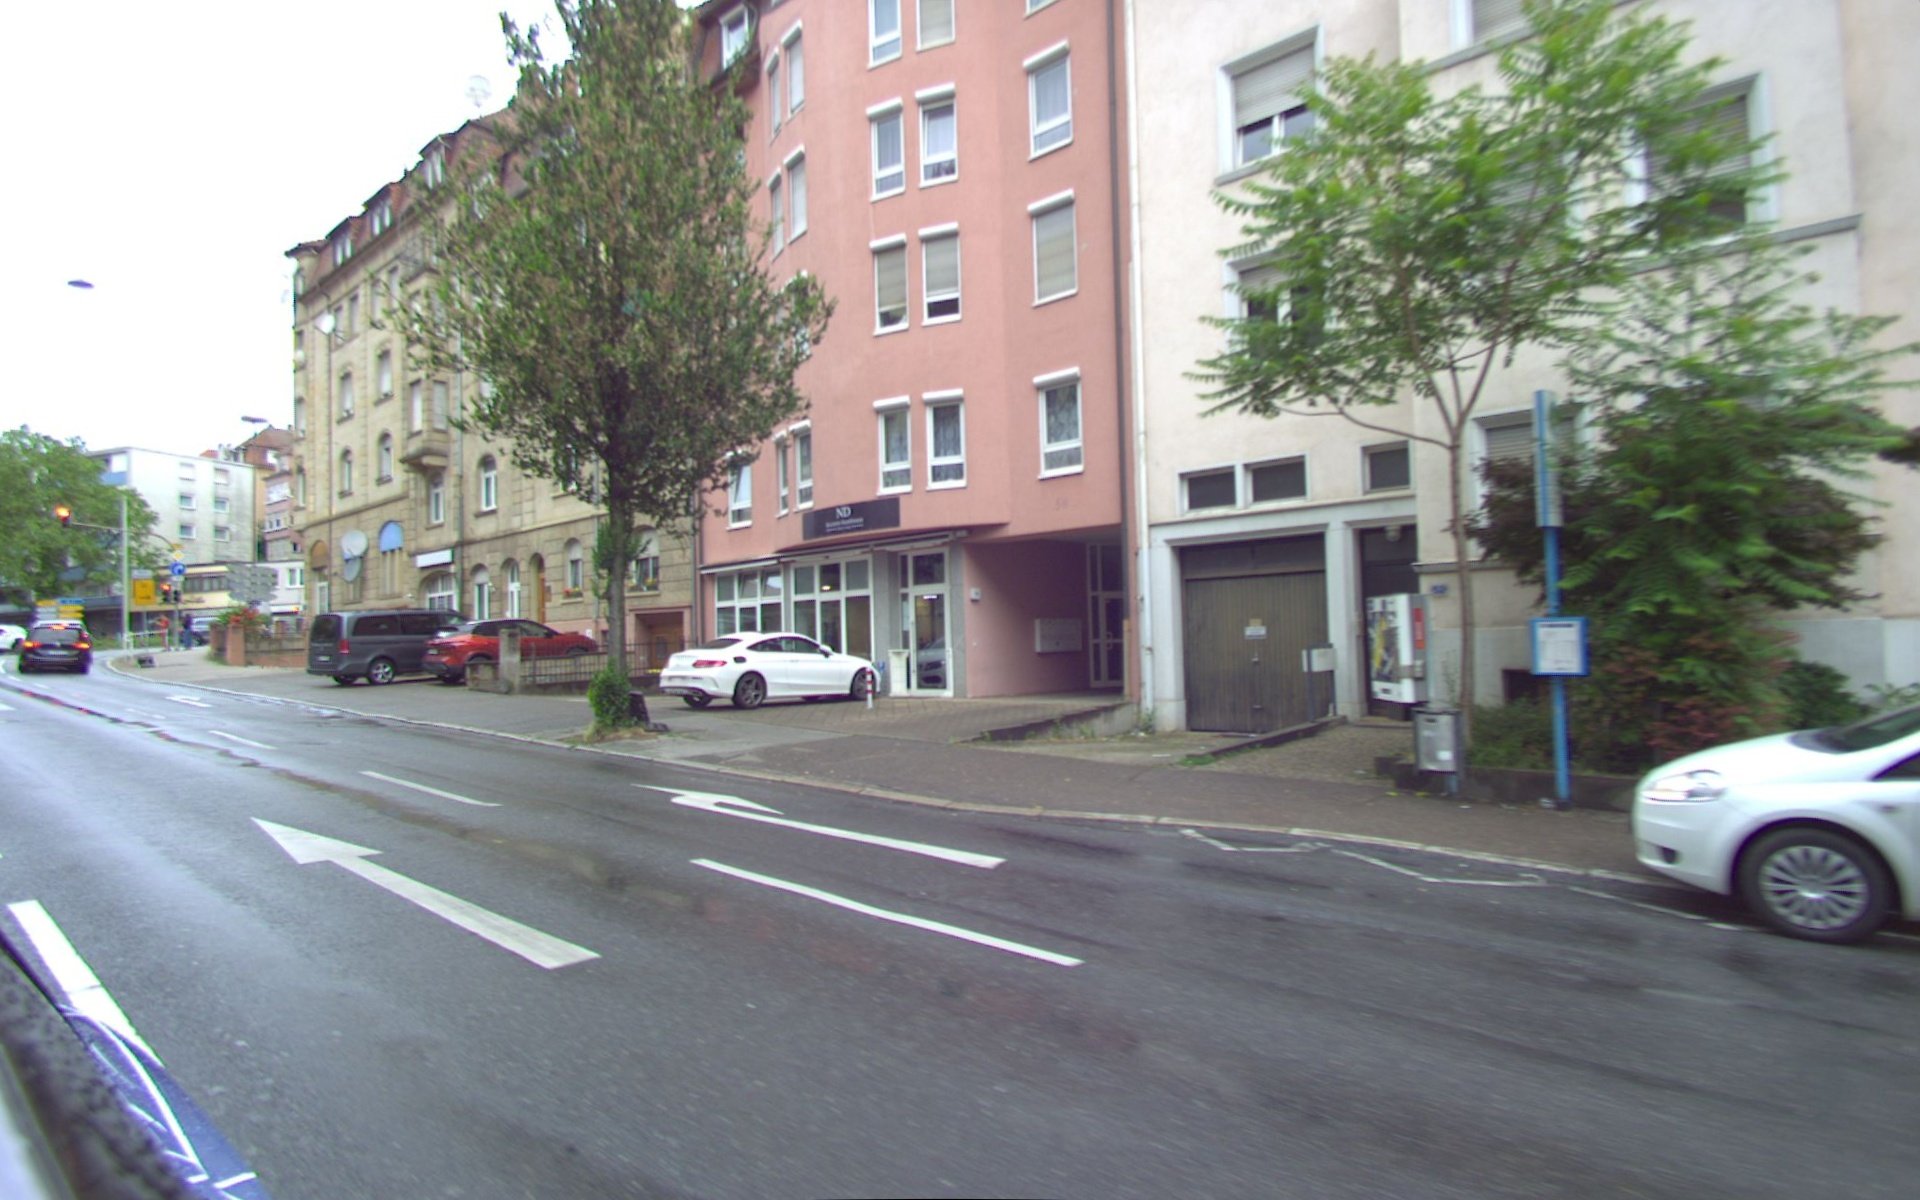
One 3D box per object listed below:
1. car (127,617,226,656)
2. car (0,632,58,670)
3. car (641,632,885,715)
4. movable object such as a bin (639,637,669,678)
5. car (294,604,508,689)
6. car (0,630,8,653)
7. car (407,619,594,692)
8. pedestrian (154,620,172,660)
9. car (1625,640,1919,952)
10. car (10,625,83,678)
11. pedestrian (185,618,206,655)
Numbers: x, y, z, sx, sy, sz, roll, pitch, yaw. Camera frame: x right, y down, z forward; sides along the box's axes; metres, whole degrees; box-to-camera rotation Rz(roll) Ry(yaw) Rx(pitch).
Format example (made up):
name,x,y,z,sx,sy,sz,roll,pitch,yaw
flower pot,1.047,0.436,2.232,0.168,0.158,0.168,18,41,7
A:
name,x,y,z,sx,sy,sz,roll,pitch,yaw
car,-45.411,2.099,58.753,4.436,2.029,1.920,-2,0,-37
car,-53.601,2.873,56.669,4.390,2.029,1.917,-2,0,-2
car,-3.648,1.333,19.467,1.766,1.412,4.500,-2,-3,40
movable object such as a bin,-7.896,1.473,26.124,0.526,1.004,0.551,-2,0,-44
car,-14.707,1.162,26.895,1.857,1.953,4.640,-2,0,31
car,-84.001,3.640,85.534,1.861,1.992,4.957,-1,0,12
car,-12.001,1.371,26.629,1.896,1.602,4.055,-1,1,40
pedestrian,-35.981,1.789,45.681,0.516,1.787,0.694,-2,0,-43
car,5.726,0.948,4.878,4.004,1.457,1.603,-2,-2,42
car,-30.752,1.719,34.037,1.602,1.662,4.423,5,-5,-44
pedestrian,-36.050,1.702,47.727,0.829,1.715,0.629,-2,0,43
